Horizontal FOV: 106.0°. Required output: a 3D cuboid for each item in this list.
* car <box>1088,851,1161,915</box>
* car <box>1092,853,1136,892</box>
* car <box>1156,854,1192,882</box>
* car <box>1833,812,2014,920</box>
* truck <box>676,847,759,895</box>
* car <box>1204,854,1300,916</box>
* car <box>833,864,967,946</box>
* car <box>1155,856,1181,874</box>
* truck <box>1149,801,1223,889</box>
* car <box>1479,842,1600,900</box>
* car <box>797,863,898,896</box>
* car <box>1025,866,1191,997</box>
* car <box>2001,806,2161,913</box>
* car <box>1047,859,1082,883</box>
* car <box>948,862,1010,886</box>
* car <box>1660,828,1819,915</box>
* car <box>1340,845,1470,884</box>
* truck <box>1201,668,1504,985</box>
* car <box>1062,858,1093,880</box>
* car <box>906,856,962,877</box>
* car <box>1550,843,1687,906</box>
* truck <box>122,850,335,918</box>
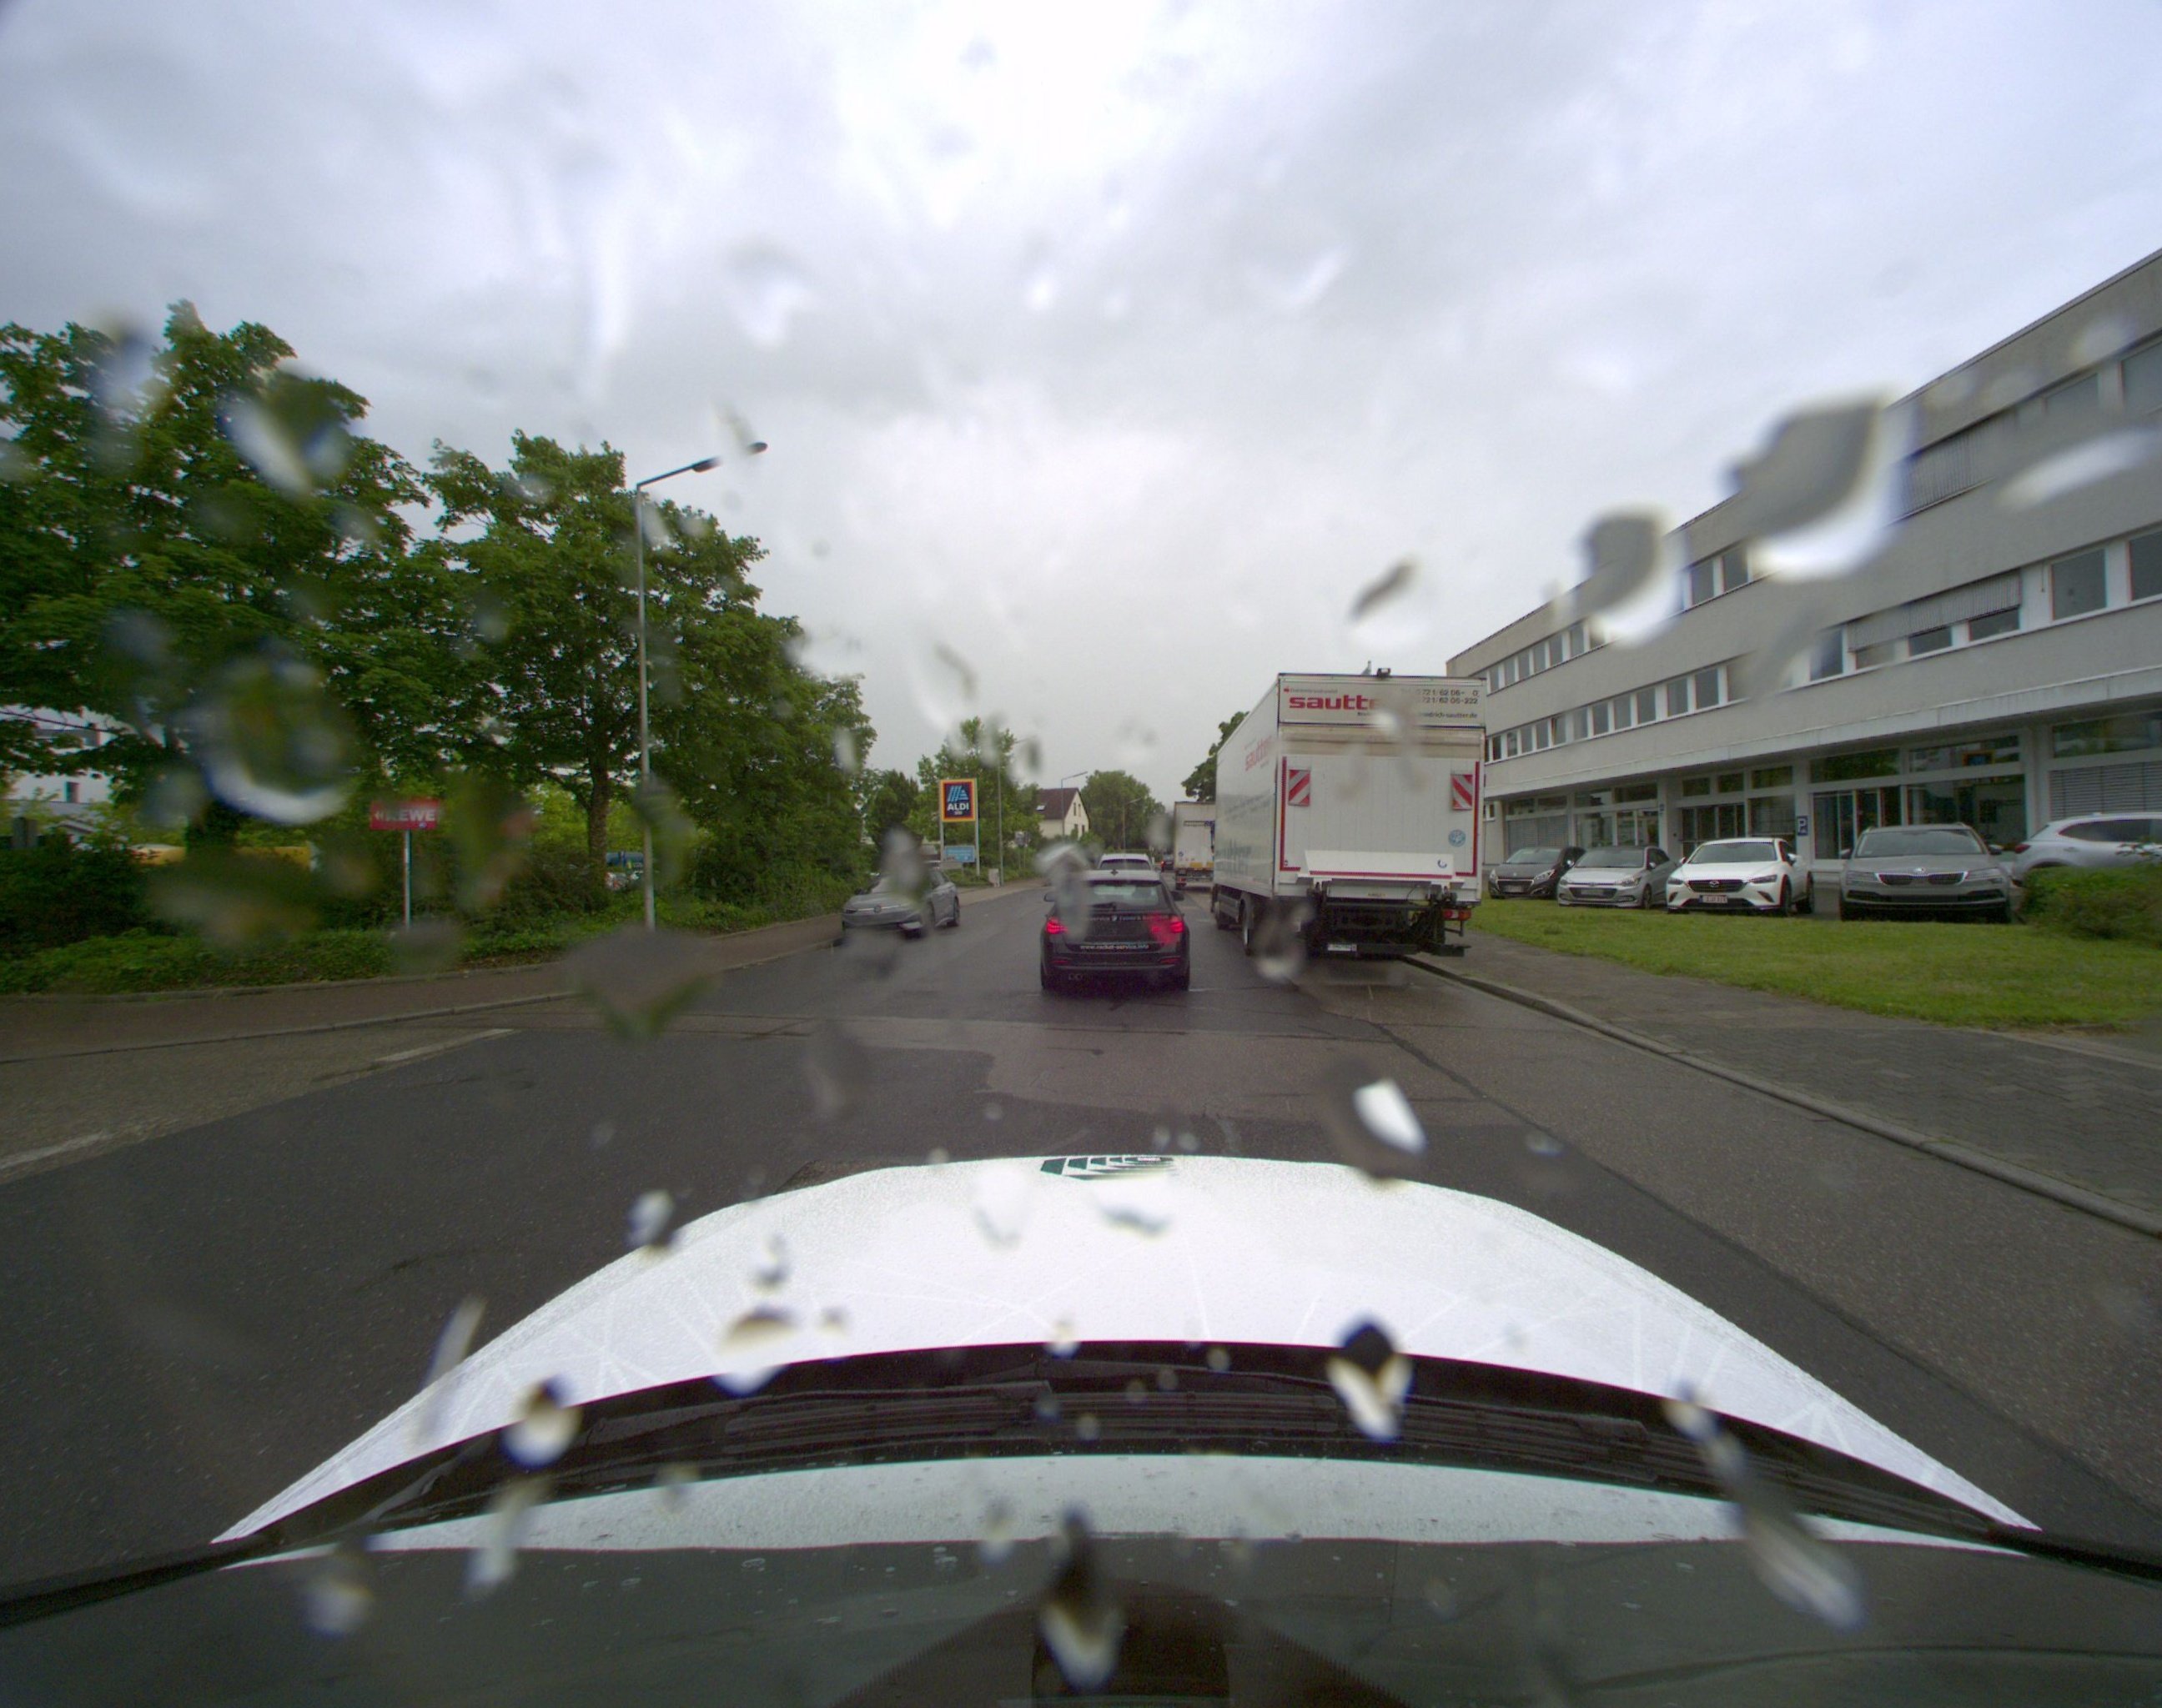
[{"bbox_3d":[1.136,0.747,22.435,1.798,1.586,4.000,-1,-1,1],"label":"car"},{"bbox_3d":[1.372,0.768,35.221,1.798,1.586,4.000,-1,-1,0],"label":"car"},{"bbox_3d":[5.887,0.889,52.055,1.986,1.684,4.002,-1,-1,2],"label":"car"},{"bbox_3d":[14.025,0.155,13.561,4.022,1.527,1.850,-1,0,-43],"label":"car"},{"bbox_3d":[-22.362,0.992,50.507,1.986,2.753,6.470,-2,0,2],"label":"truck"},{"bbox_3d":[4.401,0.753,21.619,1.790,1.441,4.347,-2,0,2],"label":"car"},{"bbox_3d":[-4.087,1.091,19.234,1.802,1.528,4.750,-5,-1,2],"label":"car"},{"bbox_3d":[8.246,1.042,76.930,1.791,1.586,4.016,-1,-1,15],"label":"car"},{"bbox_3d":[4.696,-0.366,37.819,2.730,3.611,7.755,1,0,3],"label":"truck"},{"bbox_3d":[12.386,0.405,21.925,3.789,1.393,1.686,-1,0,-42],"label":"car"},{"bbox_3d":[-10.834,1.158,37.926,4.177,1.460,1.712,-1,0,0],"label":"car"},{"bbox_3d":[0.337,0.876,10.916,1.798,1.395,4.000,-1,-1,1],"label":"car"},{"bbox_3d":[18.183,0.056,13.154,1.986,1.706,4.145,-2,0,2],"label":"car"},{"bbox_3d":[-1.032,1.066,52.404,1.697,1.367,4.607,-4,0,5],"label":"car"},{"bbox_3d":[-6.266,1.213,50.294,3.553,1.460,1.714,0,0,4],"label":"car"},{"bbox_3d":[12.834,0.273,15.788,4.022,1.470,1.754,-1,0,-42],"label":"car"},{"bbox_3d":[13.346,0.448,33.715,4.616,1.468,1.802,-2,0,41],"label":"car"},{"bbox_3d":[3.952,-0.329,14.470,2.729,3.789,9.307,1,0,3],"label":"truck"},{"bbox_3d":[-0.218,1.053,58.396,1.697,1.367,3.845,-4,0,6],"label":"car"},{"bbox_3d":[-11.583,1.000,64.217,3.969,1.540,1.912,-1,0,3],"label":"car"},{"bbox_3d":[12.593,0.422,18.992,4.022,1.286,1.686,-1,0,-42],"label":"car"},{"bbox_3d":[-35.991,1.162,34.781,1.984,2.601,6.404,-2,0,4],"label":"truck"}]
